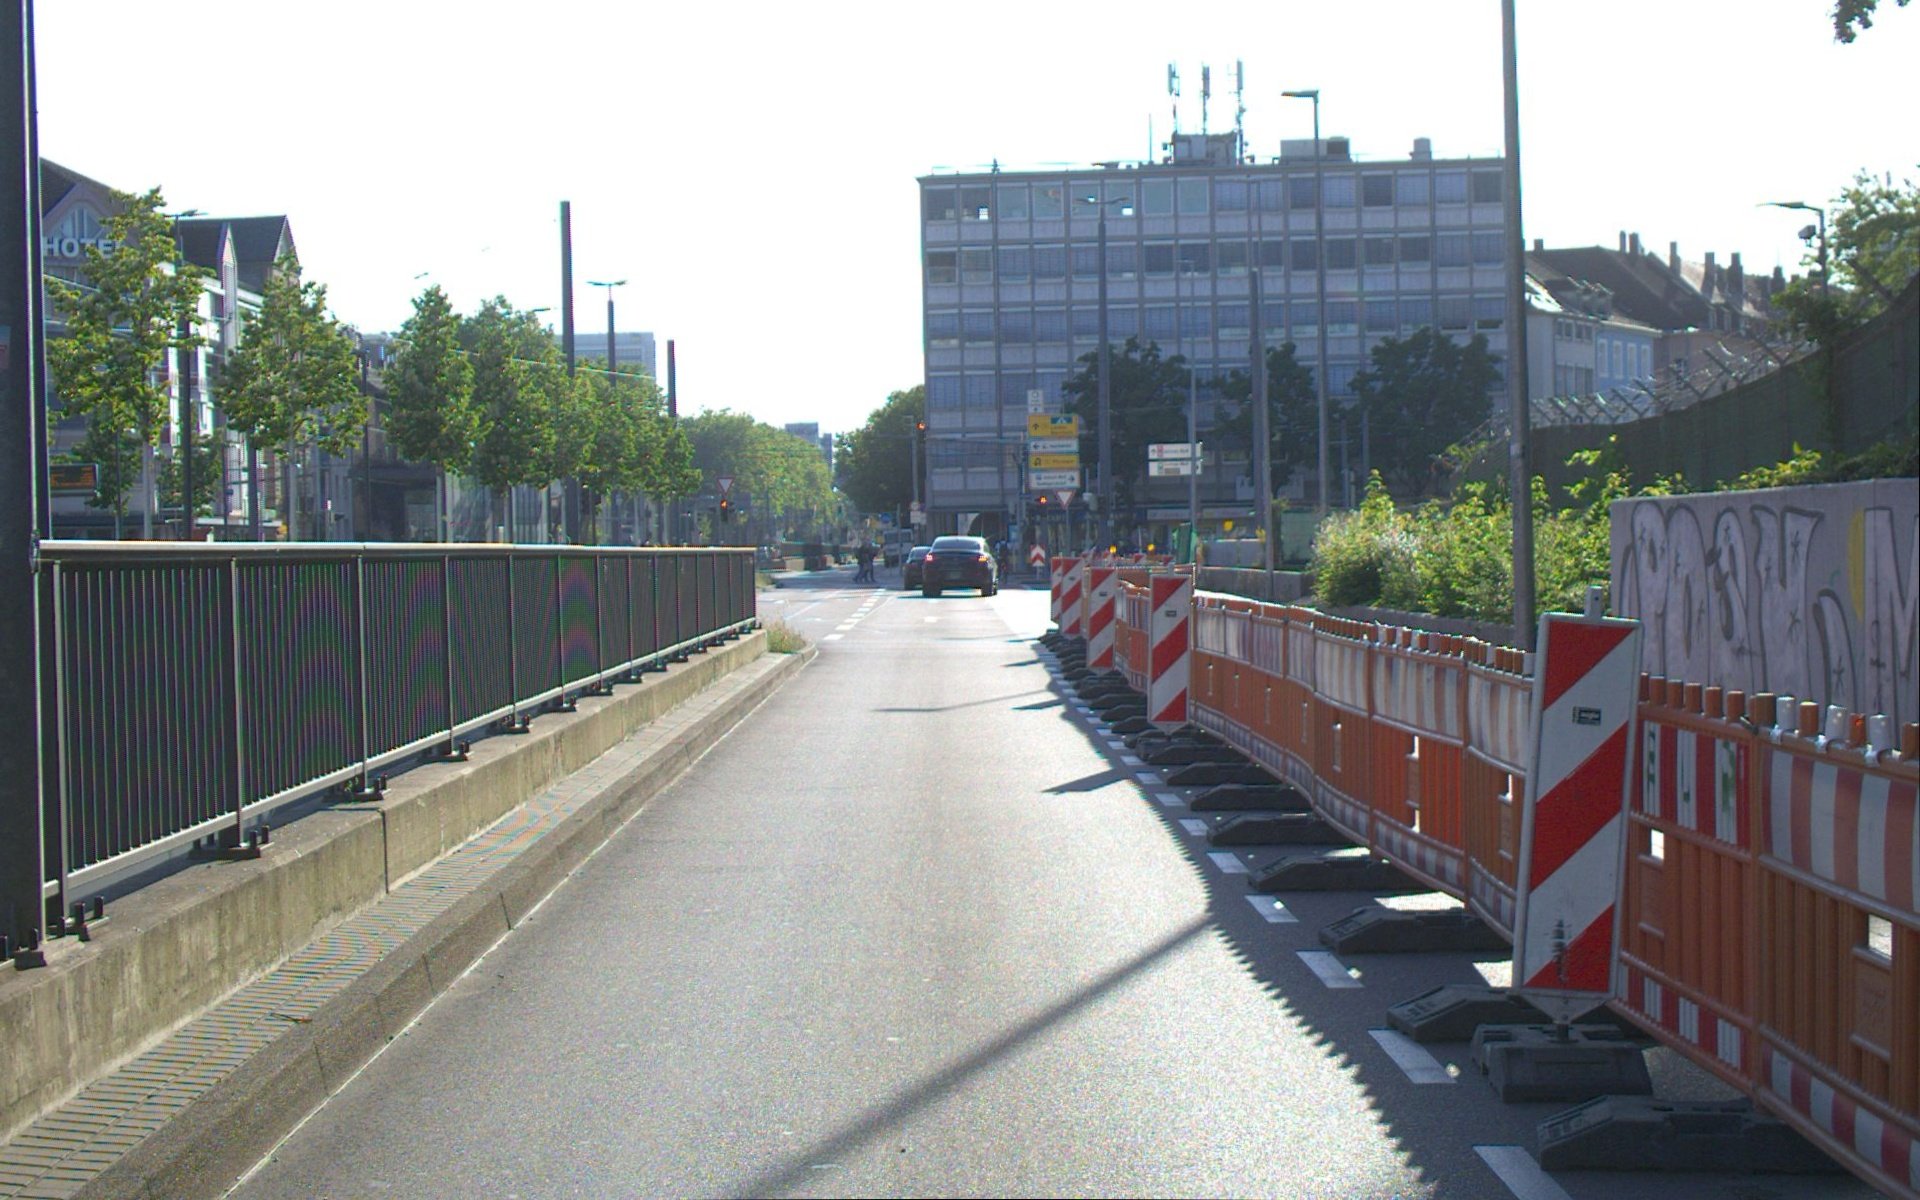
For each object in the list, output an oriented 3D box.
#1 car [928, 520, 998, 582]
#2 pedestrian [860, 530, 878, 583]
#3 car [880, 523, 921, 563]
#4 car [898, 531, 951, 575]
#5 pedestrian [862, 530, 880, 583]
[{"bbox_3d":[0.063,-1.438,99.973,1.993,1.687,4.001,0,2,-1],"label":"car"},{"bbox_3d":[-3.424,-1.634,129.689,0.613,2.007,0.511,-1,1,3],"label":"pedestrian"},{"bbox_3d":[-3.818,-3.633,220.027,2.486,2.384,5.935,-3,1,-1],"label":"car"},{"bbox_3d":[-1.209,-1.588,115.807,1.743,1.421,4.000,-1,1,-1],"label":"car"},{"bbox_3d":[-3.383,-1.643,130.247,0.613,2.007,0.511,-1,1,3],"label":"pedestrian"}]
